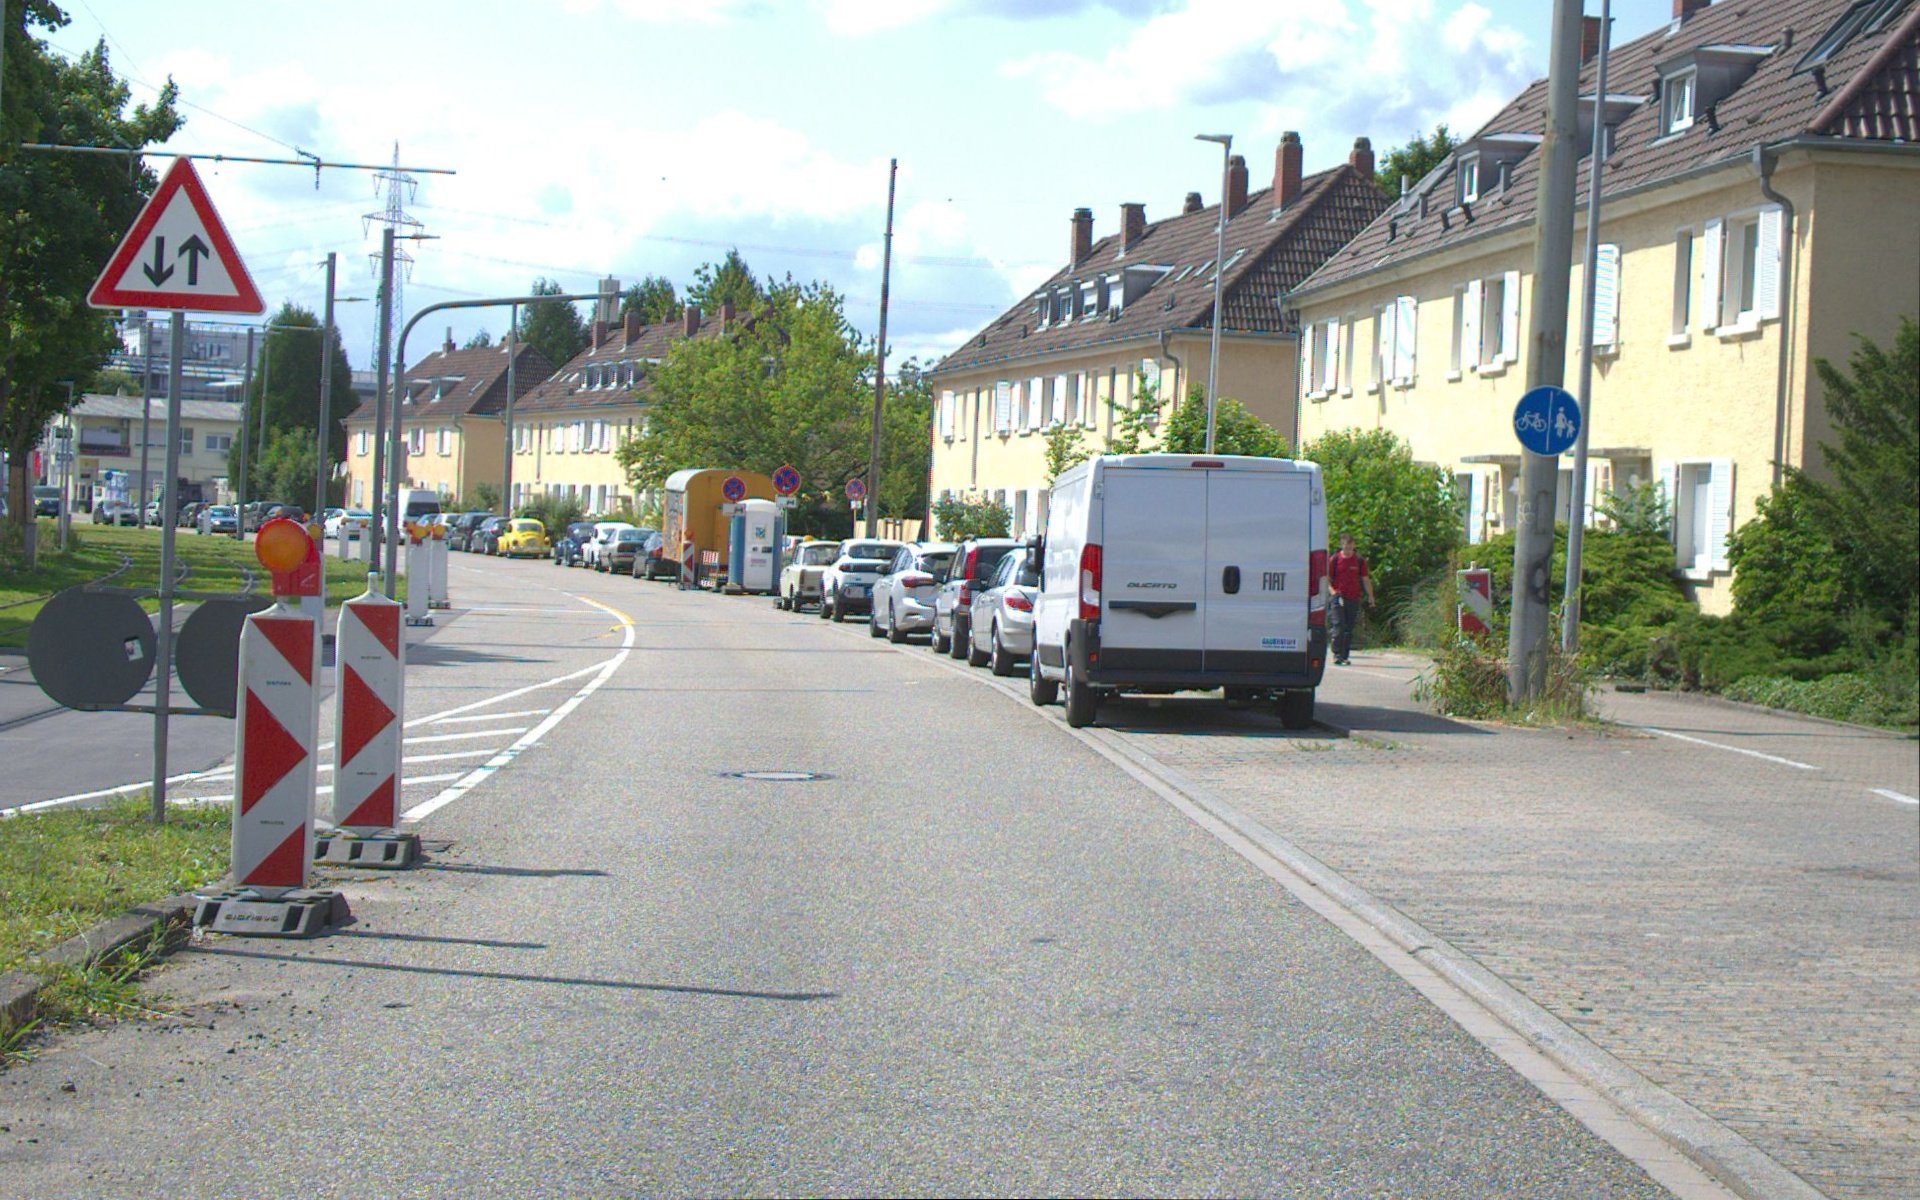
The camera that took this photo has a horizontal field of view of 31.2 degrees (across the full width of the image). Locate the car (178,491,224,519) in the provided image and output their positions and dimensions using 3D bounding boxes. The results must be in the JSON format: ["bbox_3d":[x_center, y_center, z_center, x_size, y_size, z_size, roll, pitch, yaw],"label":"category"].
[{"bbox_3d":[-43.283,-5.417,196.028,1.763,1.497,4.001,0,2,-24],"label":"car"}]

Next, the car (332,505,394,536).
[{"bbox_3d":[-28.412,-3.796,163.520,1.798,1.453,4.766,0,2,-24],"label":"car"}]

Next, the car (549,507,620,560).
[{"bbox_3d":[-12.658,-2.261,115.766,1.548,1.635,4.248,2,1,-17],"label":"car"}]

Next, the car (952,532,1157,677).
[{"bbox_3d":[1.028,0.007,39.601,1.707,1.499,4.256,2,1,-7],"label":"car"}]

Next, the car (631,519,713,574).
[{"bbox_3d":[-8.251,-1.546,98.194,1.577,1.444,4.455,2,1,-14],"label":"car"}]

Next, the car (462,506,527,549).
[{"bbox_3d":[-17.962,-2.808,132.600,1.635,1.477,4.126,2,1,-19],"label":"car"}]

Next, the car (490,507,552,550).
[{"bbox_3d":[-16.331,-2.681,127.684,1.636,1.477,3.933,-1,3,-17],"label":"car"}]

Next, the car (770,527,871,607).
[{"bbox_3d":[-2.813,-0.675,68.436,1.463,1.497,4.111,1,1,-10],"label":"car"}]

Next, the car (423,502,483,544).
[{"bbox_3d":[-20.909,-3.172,141.627,1.635,1.597,4.031,2,1,-19],"label":"car"}]

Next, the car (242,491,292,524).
[{"bbox_3d":[-36.536,-4.879,181.162,1.763,1.637,4.001,0,2,-24],"label":"car"}]

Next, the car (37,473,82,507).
[{"bbox_3d":[-54.384,-6.650,207.513,1.955,1.959,5.295,1,2,-21],"label":"car"}]

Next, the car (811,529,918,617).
[{"bbox_3d":[-1.752,-0.510,62.170,1.527,1.476,3.810,2,1,-7],"label":"car"}]

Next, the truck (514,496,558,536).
[{"bbox_3d":[-18.598,-3.670,150.700,1.346,1.682,2.442,2,1,-20],"label":"truck"}]

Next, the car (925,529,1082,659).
[{"bbox_3d":[0.523,-0.112,44.507,1.628,1.544,3.810,2,1,-5],"label":"car"}]

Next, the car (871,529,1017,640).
[{"bbox_3d":[-0.284,-0.259,50.394,1.749,1.492,4.386,2,1,-5],"label":"car"}]

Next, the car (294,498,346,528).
[{"bbox_3d":[-31.332,-4.270,168.129,1.620,1.412,4.001,0,2,-24],"label":"car"}]

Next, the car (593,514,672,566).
[{"bbox_3d":[-10.107,-1.865,105.856,1.706,1.444,4.837,2,1,-14],"label":"car"}]

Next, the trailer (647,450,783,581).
[{"bbox_3d":[-6.450,-2.214,89.880,2.689,3.215,5.084,2,1,-13],"label":"trailer"}]

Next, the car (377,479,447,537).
[{"bbox_3d":[-24.154,-4.068,151.307,1.929,2.472,5.519,1,2,-20],"label":"car"}]

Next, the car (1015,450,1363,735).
[{"bbox_3d":[1.856,-0.135,30.275,2.276,2.175,6.369,2,1,-3],"label":"car"}]

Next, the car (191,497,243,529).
[{"bbox_3d":[-35.057,-4.115,162.172,1.665,1.444,3.961,-1,2,-23],"label":"car"}]

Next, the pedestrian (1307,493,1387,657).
[{"bbox_3d":[4.857,-0.316,43.143,0.772,2.007,0.762,2,1,-5],"label":"pedestrian"}]

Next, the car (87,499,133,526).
[{"bbox_3d":[-46.315,-4.767,187.234,1.724,1.384,4.123,2,1,-23],"label":"car"}]

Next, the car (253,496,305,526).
[{"bbox_3d":[-34.959,-4.578,176.440,1.763,1.412,4.001,0,2,-24],"label":"car"}]
